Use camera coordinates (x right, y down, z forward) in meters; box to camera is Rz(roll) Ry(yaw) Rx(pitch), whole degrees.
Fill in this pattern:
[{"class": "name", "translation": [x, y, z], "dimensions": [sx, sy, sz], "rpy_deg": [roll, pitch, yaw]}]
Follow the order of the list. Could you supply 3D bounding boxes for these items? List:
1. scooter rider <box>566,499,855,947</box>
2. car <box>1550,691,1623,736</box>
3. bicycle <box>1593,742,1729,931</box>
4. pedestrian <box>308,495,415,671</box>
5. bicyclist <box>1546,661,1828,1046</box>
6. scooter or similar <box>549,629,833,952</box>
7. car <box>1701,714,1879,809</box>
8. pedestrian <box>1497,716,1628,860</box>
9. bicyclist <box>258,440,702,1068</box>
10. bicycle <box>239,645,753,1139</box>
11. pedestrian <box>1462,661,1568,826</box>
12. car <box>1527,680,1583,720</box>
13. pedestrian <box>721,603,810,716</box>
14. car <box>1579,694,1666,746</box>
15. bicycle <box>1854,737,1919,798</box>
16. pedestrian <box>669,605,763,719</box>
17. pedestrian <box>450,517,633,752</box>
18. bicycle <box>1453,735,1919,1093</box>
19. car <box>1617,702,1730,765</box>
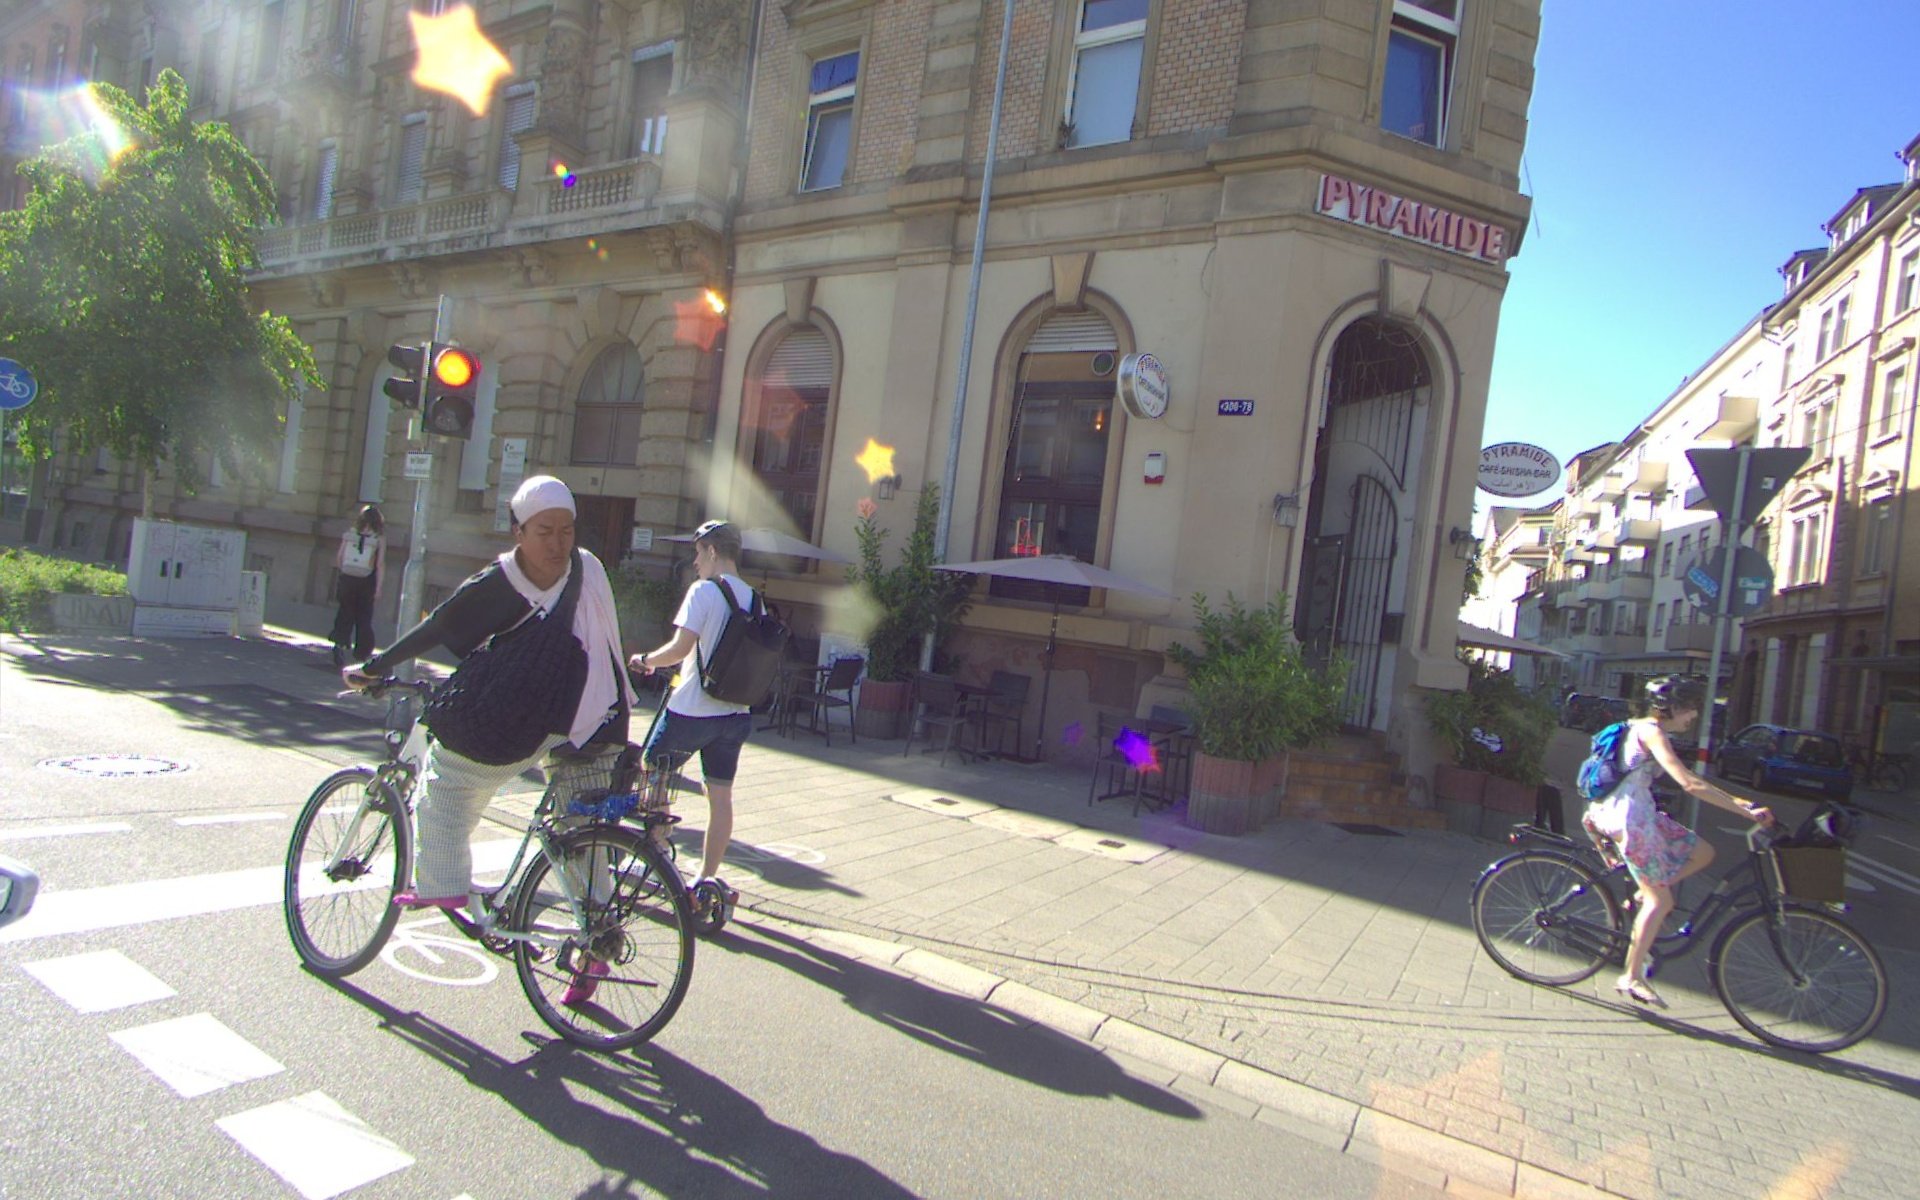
[{"class": "scooter rider", "translation": [-1.184, 0.537, 4.818], "dimensions": [0.886, 1.882, 0.668], "rpy_deg": [7, -1, 31]}, {"class": "car", "translation": [25.853, 4.651, 41.651], "dimensions": [1.769, 1.449, 3.773], "rpy_deg": [7, -1, 22]}, {"class": "bicycle", "translation": [5.698, 1.843, 8.201], "dimensions": [0.643, 1.186, 1.818], "rpy_deg": [11, 2, 35]}, {"class": "pedestrian", "translation": [-7.088, -0.201, 11.964], "dimensions": [0.643, 1.932, 1.075], "rpy_deg": [7, 0, -15]}, {"class": "bicyclist", "translation": [3.660, 1.212, 5.171], "dimensions": [0.944, 1.659, 0.667], "rpy_deg": [7, 1, 31]}, {"class": "scooter or similar", "translation": [-1.291, 0.845, 4.788], "dimensions": [1.151, 1.240, 0.492], "rpy_deg": [7, -2, 31]}, {"class": "car", "translation": [18.513, 3.534, 22.662], "dimensions": [1.769, 1.437, 4.000], "rpy_deg": [9, 0, 22]}, {"class": "pedestrian", "translation": [6.103, 1.874, 10.251], "dimensions": [0.917, 1.228, 0.852], "rpy_deg": [7, -1, 25]}, {"class": "bicyclist", "translation": [-1.564, 0.429, 3.339], "dimensions": [0.854, 1.731, 0.781], "rpy_deg": [7, -2, 31]}, {"class": "bicycle", "translation": [-1.619, 0.834, 3.396], "dimensions": [1.762, 1.105, 0.558], "rpy_deg": [7, -2, 31]}, {"class": "pedestrian", "translation": [6.612, 1.682, 12.043], "dimensions": [0.852, 1.781, 0.909], "rpy_deg": [7, -1, 25]}, {"class": "car", "translation": [30.126, 5.034, 51.010], "dimensions": [1.769, 1.685, 3.772], "rpy_deg": [7, -1, 23]}, {"class": "pedestrian", "translation": [-2.342, 0.709, 12.129], "dimensions": [0.624, 1.252, 0.706], "rpy_deg": [7, 2, 31]}, {"class": "car", "translation": [24.072, 4.312, 36.707], "dimensions": [1.769, 1.449, 3.773], "rpy_deg": [7, -1, 22]}, {"class": "bicycle", "translation": [22.216, 3.966, 23.563], "dimensions": [0.621, 1.192, 2.014], "rpy_deg": [7, 0, 1]}, {"class": "pedestrian", "translation": [-2.774, 0.694, 11.466], "dimensions": [0.624, 1.193, 0.706], "rpy_deg": [7, 2, 31]}, {"class": "pedestrian", "translation": [-3.581, 0.296, 8.691], "dimensions": [0.952, 1.809, 0.868], "rpy_deg": [7, -1, 5]}, {"class": "bicycle", "translation": [3.651, 1.477, 5.141], "dimensions": [1.868, 1.238, 0.584], "rpy_deg": [7, 0, 31]}, {"class": "car", "translation": [21.875, 4.042, 31.024], "dimensions": [1.769, 1.350, 4.000], "rpy_deg": [9, 0, 22]}]
